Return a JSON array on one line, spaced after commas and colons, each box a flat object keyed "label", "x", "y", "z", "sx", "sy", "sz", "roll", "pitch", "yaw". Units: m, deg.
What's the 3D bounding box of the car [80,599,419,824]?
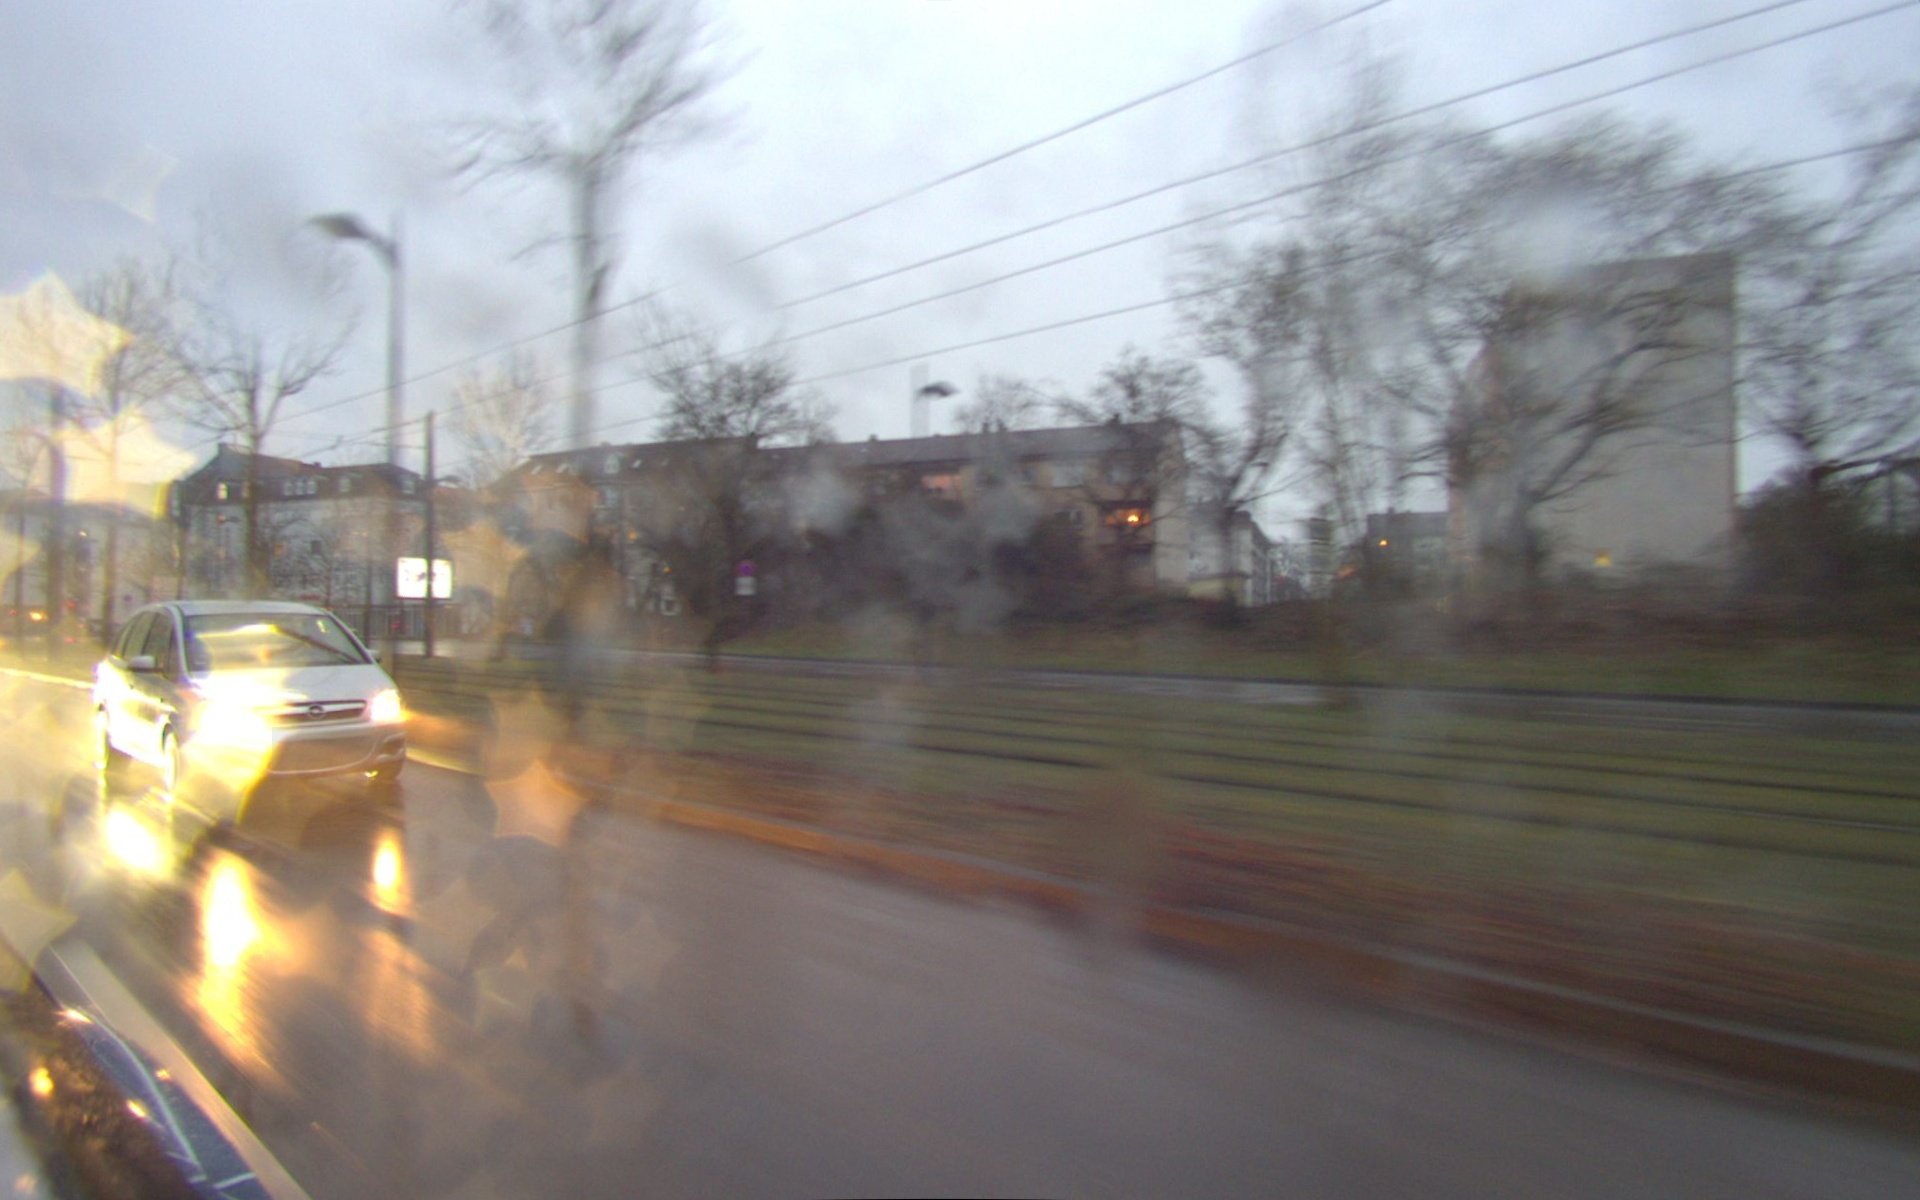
[{"label": "car", "x": -6.500, "y": 0.839, "z": 9.099, "sx": 3.921, "sy": 1.587, "sz": 1.647, "roll": -1, "pitch": -2, "yaw": 42}]

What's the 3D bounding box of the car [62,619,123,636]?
[{"label": "car", "x": -96.316, "y": 3.099, "z": 112.401, "sx": 2.308, "sy": 1.871, "sz": 4.646, "roll": 0, "pitch": -2, "yaw": 18}]
